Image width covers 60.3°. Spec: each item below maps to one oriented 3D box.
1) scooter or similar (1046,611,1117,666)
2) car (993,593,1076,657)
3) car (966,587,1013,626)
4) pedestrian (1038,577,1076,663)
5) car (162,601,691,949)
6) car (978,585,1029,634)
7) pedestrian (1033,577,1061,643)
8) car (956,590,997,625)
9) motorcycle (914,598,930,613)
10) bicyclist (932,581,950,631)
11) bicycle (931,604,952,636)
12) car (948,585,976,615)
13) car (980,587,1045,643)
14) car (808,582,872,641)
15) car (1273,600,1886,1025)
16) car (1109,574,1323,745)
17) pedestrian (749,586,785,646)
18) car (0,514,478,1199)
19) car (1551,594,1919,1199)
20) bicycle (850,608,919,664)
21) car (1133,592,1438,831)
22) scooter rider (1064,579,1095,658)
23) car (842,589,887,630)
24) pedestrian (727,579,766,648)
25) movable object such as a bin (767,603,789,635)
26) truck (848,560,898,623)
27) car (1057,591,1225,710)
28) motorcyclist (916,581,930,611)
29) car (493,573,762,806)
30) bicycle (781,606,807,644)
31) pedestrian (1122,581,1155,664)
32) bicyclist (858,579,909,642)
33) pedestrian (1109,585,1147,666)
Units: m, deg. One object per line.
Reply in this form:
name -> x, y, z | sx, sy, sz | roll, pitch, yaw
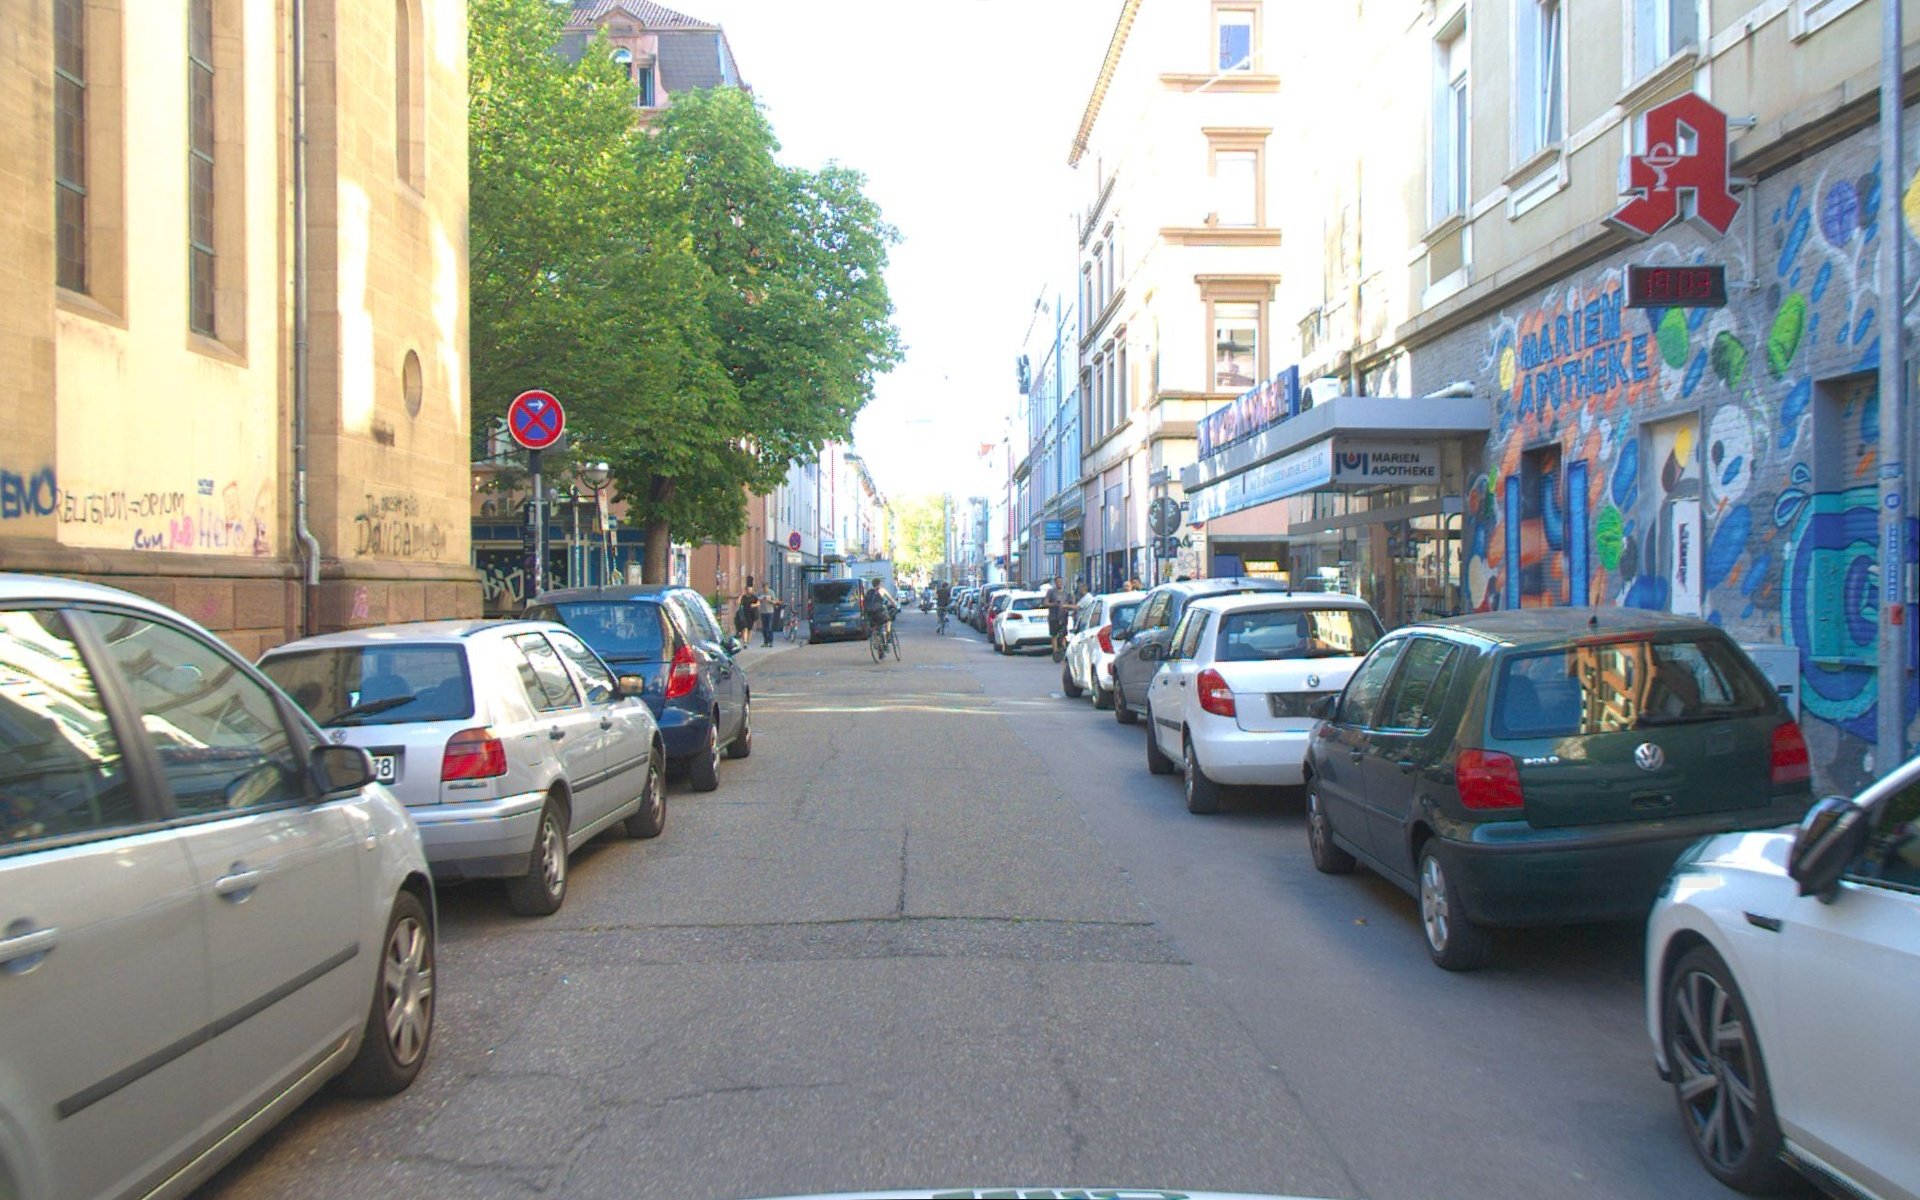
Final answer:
scooter or similar -> 2.589, 0.813, 35.336 | 1.497, 1.159, 0.601 | 0, 0, 4
car -> 1.811, 0.595, 41.265 | 1.859, 1.514, 3.869 | 0, 0, -1
car -> 1.319, 0.287, 75.362 | 1.953, 1.660, 3.999 | 3, 0, -1
pedestrian -> 2.132, 0.428, 36.367 | 0.669, 1.875, 0.692 | 1, 0, -13
car -> -2.654, 0.769, 9.159 | 1.538, 1.422, 3.809 | -3, 0, 1
car -> 1.605, 0.343, 62.089 | 1.733, 1.771, 3.999 | 0, 0, -1
pedestrian -> 2.515, 0.285, 47.732 | 0.766, 1.875, 1.012 | 1, 0, 5
car -> 0.844, 0.360, 86.315 | 1.953, 1.715, 3.999 | 2, 0, -1
motorcycle -> -2.604, 0.395, 114.145 | 1.021, 0.997, 2.823 | 0, 0, -3
bicyclist -> -0.662, 0.197, 57.757 | 0.593, 1.717, 0.885 | 0, 0, -1
bicycle -> -0.662, 0.694, 57.793 | 0.724, 1.062, 1.859 | 0, 0, -1
car -> 0.135, -0.008, 117.715 | 1.953, 2.049, 3.999 | 0, 0, -1
car -> 1.598, 0.456, 51.628 | 1.859, 1.680, 3.999 | 0, 0, -1
car -> -3.835, 0.336, 53.303 | 1.837, 1.828, 3.999 | 0, 0, -1
car -> 2.645, 0.788, 7.959 | 1.537, 1.521, 3.653 | 2, 0, 0
car -> 2.694, 0.579, 18.219 | 1.682, 1.674, 3.999 | 0, 0, -1
pedestrian -> -5.406, 0.442, 46.383 | 0.910, 1.666, 0.806 | 0, 0, 0
car -> -2.427, 0.660, 3.674 | 1.639, 1.586, 3.998 | -1, 0, -2
car -> 2.830, 0.770, 3.169 | 1.743, 1.512, 4.359 | 2, 0, -1
bicycle -> -1.598, 0.753, 35.353 | 0.749, 1.129, 1.948 | 0, 0, 21
car -> 2.351, 0.726, 12.878 | 1.571, 1.531, 4.000 | 1, 0, 0
scooter rider -> 2.548, 0.398, 35.335 | 0.636, 1.671, 0.684 | 0, 0, 3
car -> -4.317, 0.415, 75.192 | 1.837, 1.828, 3.999 | 0, 0, -1
pedestrian -> -5.620, 0.352, 43.600 | 0.910, 1.817, 0.806 | 0, 0, 0
movable object such as a bin -> -6.663, 0.680, 60.499 | 0.699, 1.161, 0.583 | 0, 0, 2
truck -> -4.777, -0.458, 91.591 | 2.480, 3.339, 6.993 | 0, 0, -1
car -> 2.430, 0.640, 23.051 | 1.682, 1.514, 3.866 | 0, 0, -4
motorcyclist -> -2.555, -0.269, 114.082 | 0.884, 2.049, 1.189 | 0, 0, -3
car -> -2.669, 0.651, 14.054 | 1.568, 1.642, 3.807 | -2, 0, -2
bicycle -> -5.038, 0.742, 50.243 | 0.633, 1.128, 1.600 | 0, 0, -12
pedestrian -> 3.629, 0.453, 33.687 | 0.454, 1.671, 0.494 | 0, 0, -42
bicyclist -> -1.622, 0.221, 35.271 | 0.739, 1.329, 1.062 | 0, 0, 21
pedestrian -> 3.508, 0.520, 34.593 | 0.539, 1.671, 0.598 | 0, 0, -42
